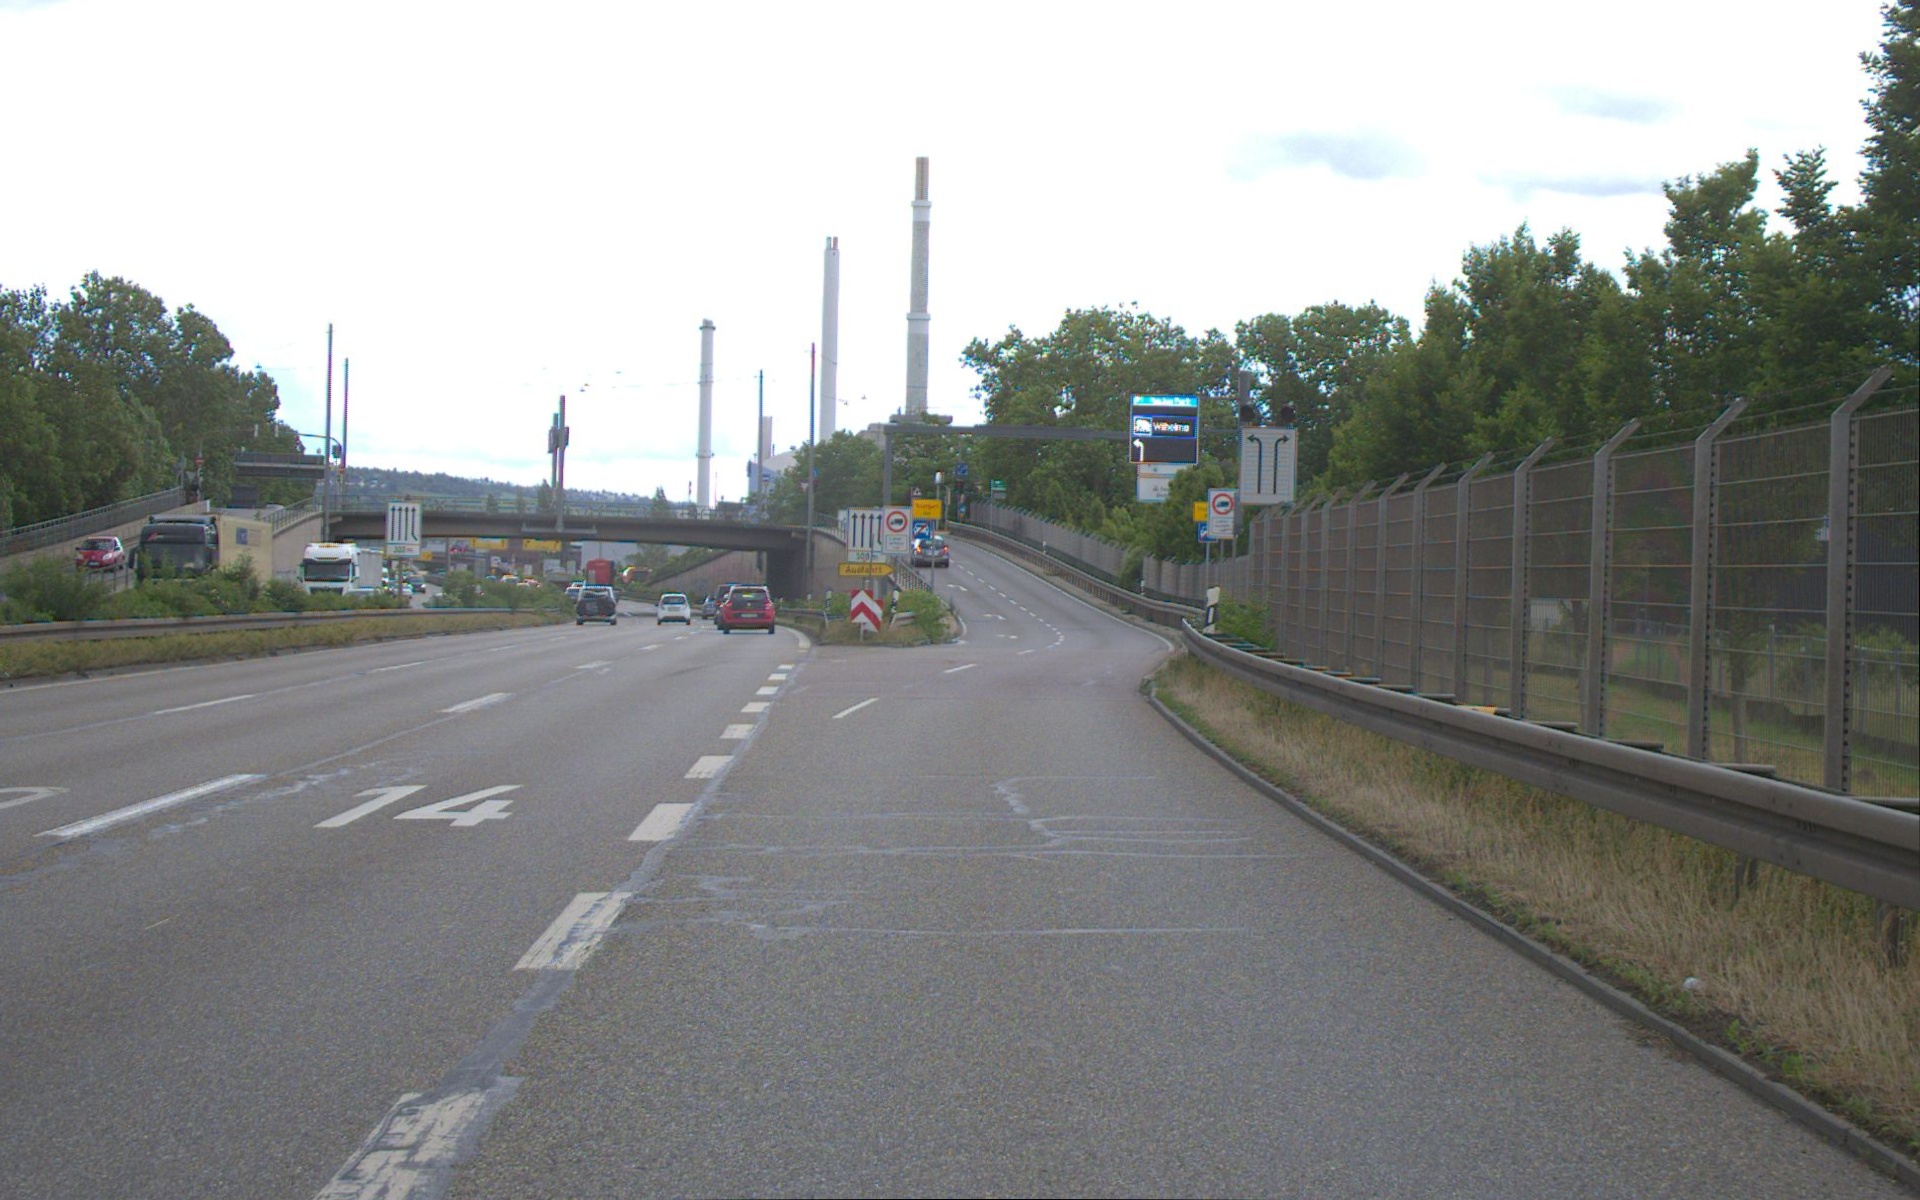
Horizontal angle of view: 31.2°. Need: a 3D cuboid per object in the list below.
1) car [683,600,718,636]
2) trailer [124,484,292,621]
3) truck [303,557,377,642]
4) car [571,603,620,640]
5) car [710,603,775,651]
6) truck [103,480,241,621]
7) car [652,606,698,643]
[{"bbox_3d":[-15.528,1.044,205.715,1.917,2.007,4.001,2,1,-6],"label":"car"},{"bbox_3d":[-27.531,-1.624,126.652,3.463,4.657,14.783,2,0,-3],"label":"trailer"},{"bbox_3d":[-30.042,0.001,166.712,2.789,3.924,5.313,2,-1,-4],"label":"truck"},{"bbox_3d":[-17.569,1.031,165.890,1.993,1.678,4.000,2,1,-2],"label":"car"},{"bbox_3d":[-7.025,0.857,110.716,1.993,1.415,4.001,2,1,-4],"label":"car"},{"bbox_3d":[-27.181,-1.648,118.910,3.463,4.657,6.212,2,0,-3],"label":"truck"},{"bbox_3d":[-13.929,1.175,168.073,1.993,1.678,4.000,2,1,-2],"label":"car"}]
